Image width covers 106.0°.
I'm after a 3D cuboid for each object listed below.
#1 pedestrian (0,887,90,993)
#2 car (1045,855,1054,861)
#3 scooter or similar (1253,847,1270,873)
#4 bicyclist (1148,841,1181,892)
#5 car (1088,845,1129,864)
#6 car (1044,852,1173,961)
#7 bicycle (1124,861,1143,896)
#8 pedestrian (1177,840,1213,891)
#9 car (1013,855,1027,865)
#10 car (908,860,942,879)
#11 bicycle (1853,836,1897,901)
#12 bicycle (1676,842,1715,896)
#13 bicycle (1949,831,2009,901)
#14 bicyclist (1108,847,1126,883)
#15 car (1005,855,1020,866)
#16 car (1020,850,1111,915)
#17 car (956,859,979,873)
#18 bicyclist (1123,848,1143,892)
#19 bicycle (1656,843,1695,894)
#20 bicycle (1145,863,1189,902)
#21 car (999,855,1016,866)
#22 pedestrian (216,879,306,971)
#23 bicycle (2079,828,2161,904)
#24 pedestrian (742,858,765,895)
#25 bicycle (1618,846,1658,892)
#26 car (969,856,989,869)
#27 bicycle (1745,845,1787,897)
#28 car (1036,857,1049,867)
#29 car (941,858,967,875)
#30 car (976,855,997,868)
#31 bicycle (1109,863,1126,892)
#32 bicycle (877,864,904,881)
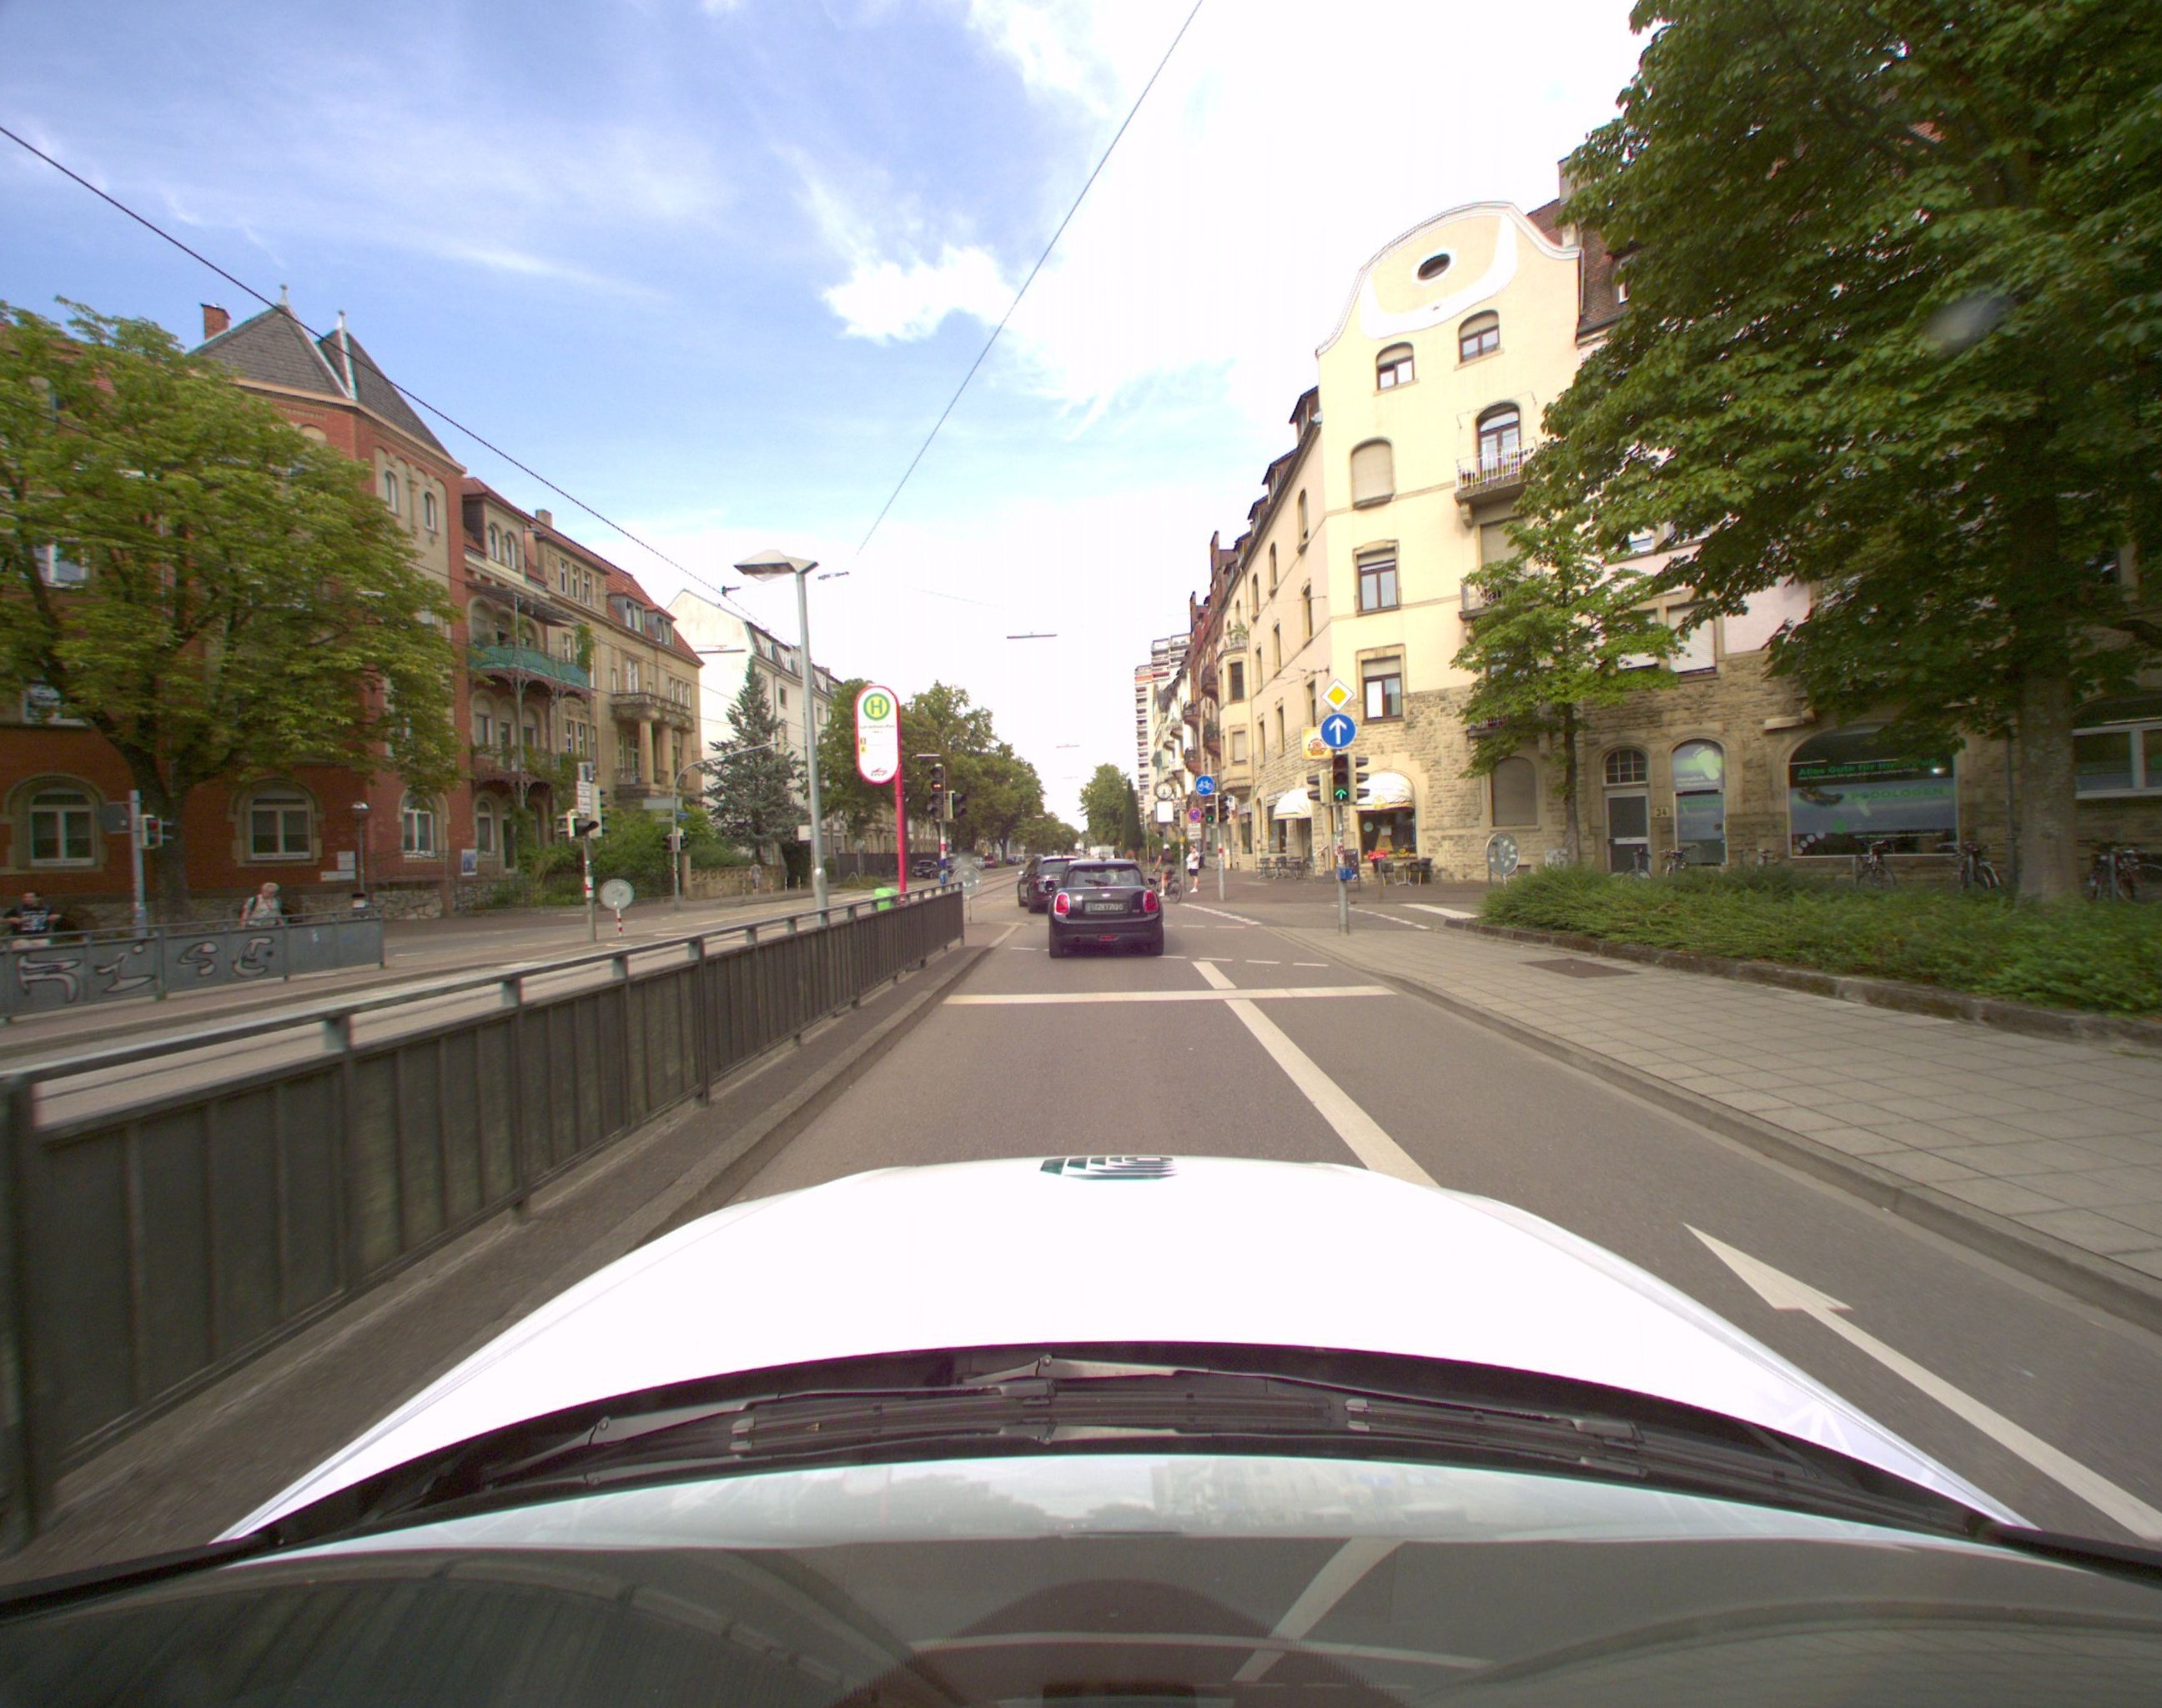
[{"bbox_3d":[-17.889,1.455,13.956,0.831,1.703,0.732,-2,0,-4],"label":"pedestrian"},{"bbox_3d":[-8.460,1.052,219.671,1.986,1.552,4.002,-2,0,2],"label":"car"},{"bbox_3d":[8.343,0.265,37.631,0.506,1.188,1.262,-3,0,2],"label":"scooter or similar"},{"bbox_3d":[2.513,0.364,24.464,0.616,1.472,0.910,-3,0,-18],"label":"bicyclist"},{"bbox_3d":[3.666,0.024,109.157,5.065,2.272,2.369,-2,0,-39],"label":"car"},{"bbox_3d":[0.327,0.735,13.385,1.747,1.441,3.997,-3,0,-2],"label":"car"},{"bbox_3d":[1.889,0.862,29.541,0.596,1.170,1.697,-3,0,2],"label":"bicycle"},{"bbox_3d":[4.032,0.411,28.786,0.840,1.674,0.724,-6,0,-42],"label":"pedestrian"},{"bbox_3d":[-10.652,1.043,143.057,1.986,1.552,4.002,-2,0,2],"label":"car"},{"bbox_3d":[-12.426,1.195,65.099,1.761,1.395,4.000,-3,0,1],"label":"car"},{"bbox_3d":[14.873,0.255,15.285,0.526,1.128,1.905,-3,0,43],"label":"bicycle"},{"bbox_3d":[13.193,0.306,17.468,0.444,1.055,1.659,-3,0,43],"label":"bicycle"},{"bbox_3d":[15.788,0.187,14.343,0.526,1.128,1.905,-3,0,43],"label":"bicycle"},{"bbox_3d":[1.602,0.478,36.145,0.681,1.564,0.999,-3,0,3],"label":"bicyclist"},{"bbox_3d":[-11.199,1.041,133.027,1.986,1.552,4.002,-2,0,2],"label":"car"},{"bbox_3d":[-0.519,0.713,22.184,1.926,1.510,3.988,-3,0,-9],"label":"car"},{"bbox_3d":[-11.772,1.237,84.797,1.761,1.395,4.000,-3,0,1],"label":"car"},{"bbox_3d":[1.879,0.576,29.537,0.592,1.550,1.014,-3,0,2],"label":"bicyclist"},{"bbox_3d":[13.049,0.304,17.853,0.444,1.055,1.659,-3,0,43],"label":"bicycle"},{"bbox_3d":[2.558,0.835,24.361,0.616,1.076,1.810,-3,0,-17],"label":"bicycle"},{"bbox_3d":[-11.437,1.029,126.828,1.986,1.552,4.002,-2,0,2],"label":"car"},{"bbox_3d":[-15.457,1.316,15.371,0.867,1.632,0.744,-2,0,-4],"label":"pedestrian"},{"bbox_3d":[16.796,0.166,13.104,0.659,1.128,1.905,-3,0,43],"label":"bicycle"},{"bbox_3d":[-16.251,1.110,40.451,0.727,1.783,0.836,-2,0,2],"label":"pedestrian"},{"bbox_3d":[12.749,0.330,18.626,0.595,0.972,1.683,-3,0,39],"label":"bicycle"},{"bbox_3d":[-11.905,0.961,95.452,1.761,1.395,4.000,-3,0,1],"label":"car"},{"bbox_3d":[13.985,0.329,16.613,0.526,0.972,1.659,-3,0,43],"label":"bicycle"},{"bbox_3d":[-5.911,1.171,125.857,1.761,1.395,4.000,-3,0,1],"label":"car"},{"bbox_3d":[-12.005,1.155,77.124,1.761,1.395,4.000,-3,0,1],"label":"car"},{"bbox_3d":[-12.031,0.986,103.858,1.986,1.552,4.002,-2,0,2],"label":"car"},{"bbox_3d":[1.629,1.024,36.138,0.681,1.170,1.698,-3,0,4],"label":"bicycle"},{"bbox_3d":[-13.484,1.291,57.642,1.680,1.119,0.566,-3,0,-38],"label":"bicycle"}]
